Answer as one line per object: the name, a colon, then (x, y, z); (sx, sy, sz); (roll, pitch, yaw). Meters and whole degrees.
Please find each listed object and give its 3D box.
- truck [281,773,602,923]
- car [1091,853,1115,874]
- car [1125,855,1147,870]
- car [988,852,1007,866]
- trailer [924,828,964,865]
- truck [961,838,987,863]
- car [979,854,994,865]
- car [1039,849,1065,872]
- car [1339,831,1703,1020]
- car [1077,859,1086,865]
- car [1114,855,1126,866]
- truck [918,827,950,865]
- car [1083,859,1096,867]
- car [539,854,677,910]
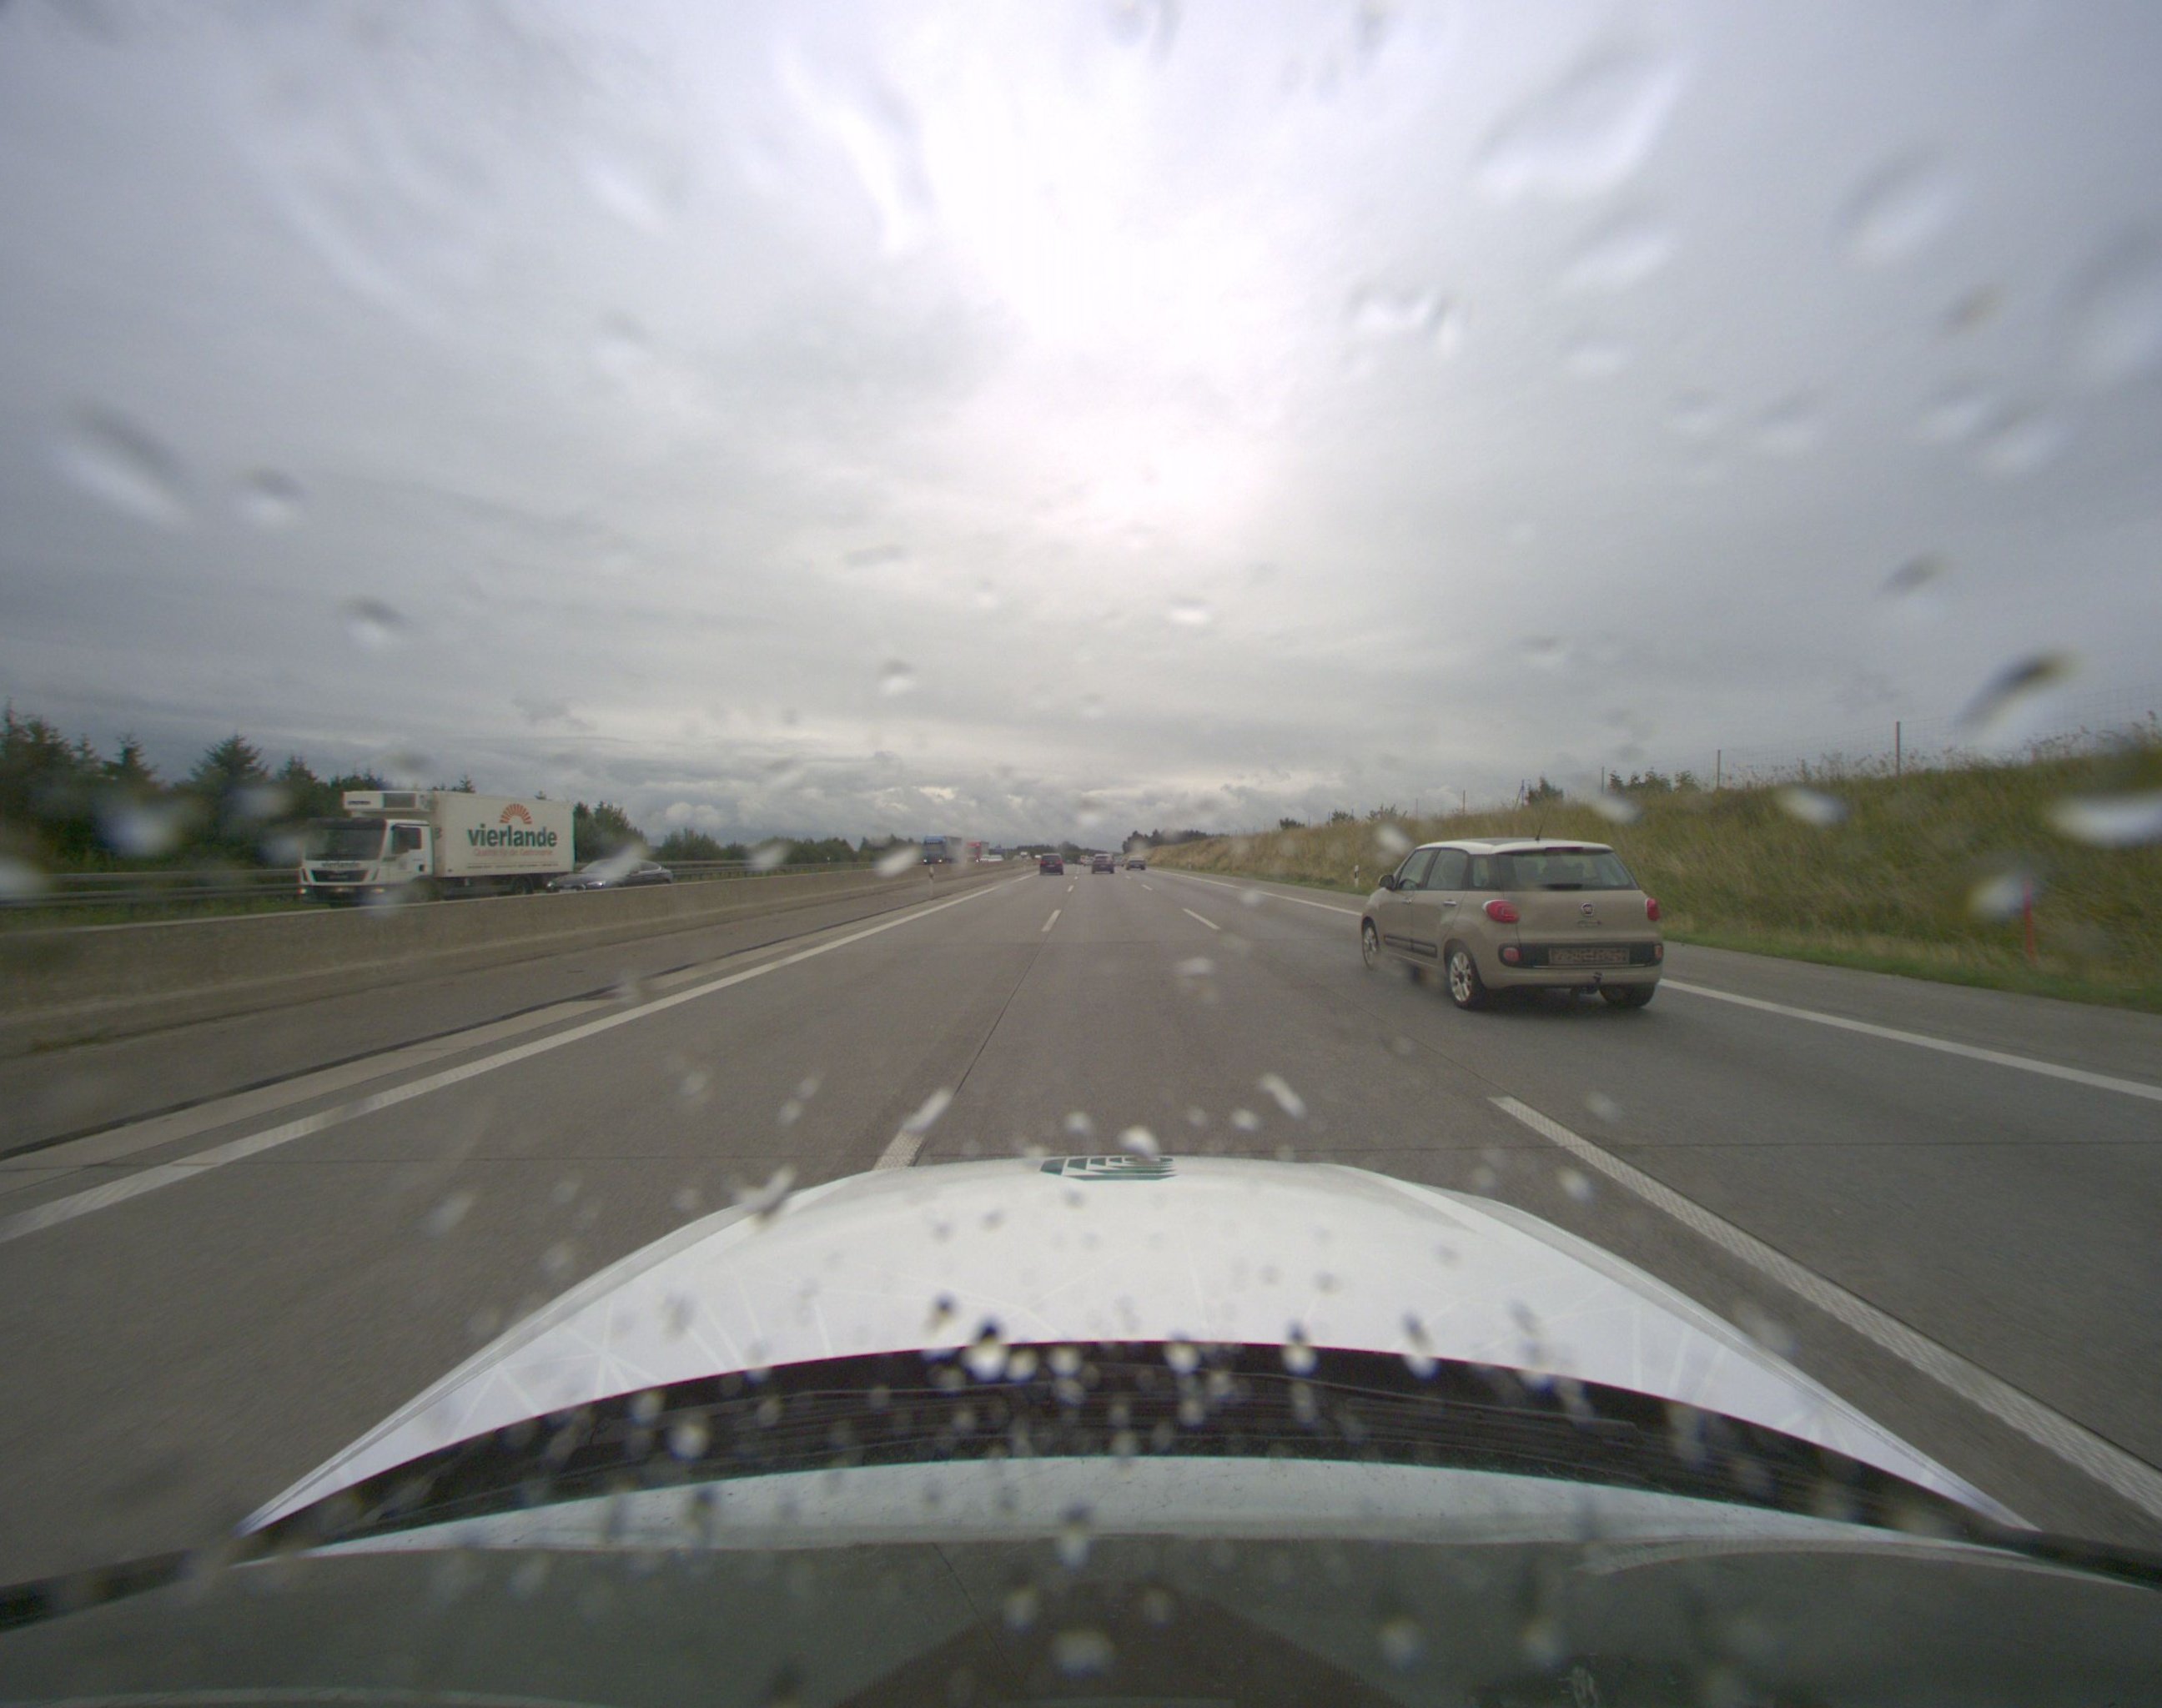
truck: (-19.165, -0.159, 25.528); (2.888, 3.863, 8.901); (0, 0, 1)
car: (1.821, 0.740, 68.395); (1.891, 1.690, 5.267); (0, 0, 1)
car: (5.682, 0.847, 84.545); (2.007, 1.446, 4.746); (0, 0, 1)
car: (-10.434, 0.623, 102.117); (1.692, 1.614, 4.721); (0, 0, 1)
trailer: (-18.178, -0.966, 109.224); (2.906, 4.625, 13.637); (0, 0, 1)
truck: (-18.471, -0.535, 141.058); (3.458, 4.182, 6.493); (0, 0, 0)
car: (-14.252, 0.800, 123.177); (1.609, 1.651, 4.295); (0, 0, 1)
car: (-2.301, 0.501, 64.992); (1.778, 1.747, 3.916); (0, 0, 1)
car: (4.498, 0.610, 9.276); (1.778, 1.605, 4.572); (0, 0, 1)
car: (0.115, 1.671, 177.169); (1.790, 1.221, 4.003); (0, 0, 3)
car: (5.553, 0.902, 116.146); (1.481, 1.470, 3.503); (2, 0, -1)
truck: (-18.253, -0.970, 101.486); (2.918, 4.676, 5.232); (0, 0, 0)
car: (1.287, 1.348, 126.575); (1.790, 1.123, 4.003); (0, 0, 3)
car: (-14.528, 0.795, 25.348); (1.623, 1.566, 4.412); (0, 0, 1)
